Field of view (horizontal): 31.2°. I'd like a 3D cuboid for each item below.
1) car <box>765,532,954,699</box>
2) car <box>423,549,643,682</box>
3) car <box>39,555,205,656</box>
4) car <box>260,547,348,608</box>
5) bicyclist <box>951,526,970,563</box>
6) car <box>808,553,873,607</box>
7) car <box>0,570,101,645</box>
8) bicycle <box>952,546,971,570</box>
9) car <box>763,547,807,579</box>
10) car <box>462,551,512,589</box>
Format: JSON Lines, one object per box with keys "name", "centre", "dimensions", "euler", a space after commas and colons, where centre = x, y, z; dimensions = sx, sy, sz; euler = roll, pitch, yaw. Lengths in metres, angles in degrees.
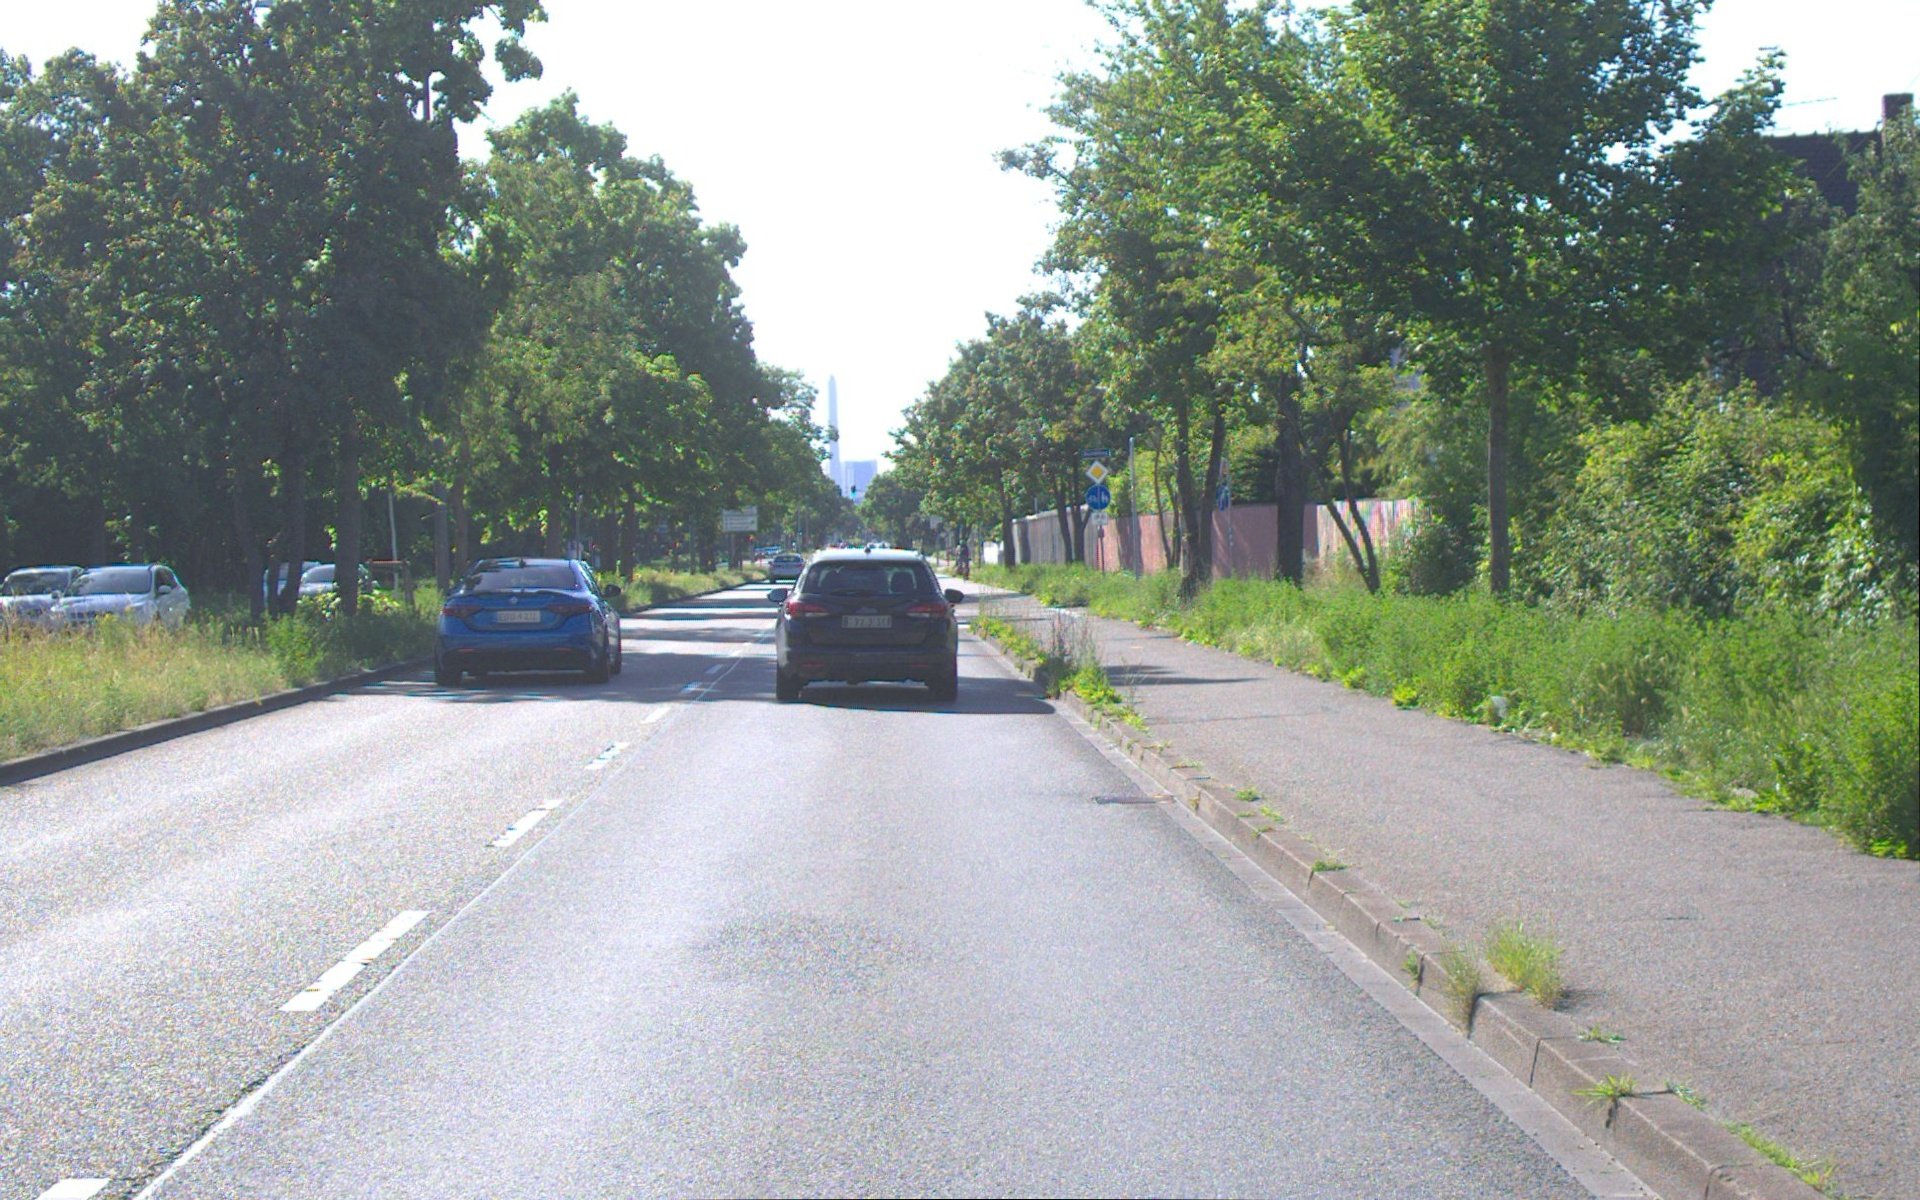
{"name": "car", "centre": [-0.966, 0.120, 34.418], "dimensions": [1.760, 1.554, 4.000], "euler": [1, 1, -1]}
{"name": "car", "centre": [-4.790, 0.135, 39.100], "dimensions": [1.995, 1.400, 4.000], "euler": [-1, 1, 0]}
{"name": "car", "centre": [-14.053, 0.061, 57.842], "dimensions": [1.713, 1.597, 4.359], "euler": [-1, 1, 0]}
{"name": "car", "centre": [-18.929, -0.670, 99.351], "dimensions": [1.839, 1.584, 4.586], "euler": [-4, 1, -3]}
{"name": "bicyclist", "centre": [0.025, -2.186, 135.209], "dimensions": [0.680, 1.414, 0.812], "euler": [-1, 1, -2]}
{"name": "car", "centre": [-3.823, -0.646, 109.241], "dimensions": [1.743, 1.592, 4.176], "euler": [-1, 2, -6]}
{"name": "car", "centre": [-18.562, 0.137, 68.973], "dimensions": [1.838, 1.408, 4.001], "euler": [-1, 1, -3]}
{"name": "bicycle", "centre": [0.058, -1.663, 135.040], "dimensions": [0.655, 0.889, 1.875], "euler": [-1, 1, -2]}
{"name": "car", "centre": [-8.640, -1.845, 169.489], "dimensions": [1.978, 1.435, 4.001], "euler": [-1, 2, -5]}
{"name": "car", "centre": [-20.872, -1.326, 151.758], "dimensions": [1.715, 1.500, 3.016], "euler": [-2, 3, 0]}
